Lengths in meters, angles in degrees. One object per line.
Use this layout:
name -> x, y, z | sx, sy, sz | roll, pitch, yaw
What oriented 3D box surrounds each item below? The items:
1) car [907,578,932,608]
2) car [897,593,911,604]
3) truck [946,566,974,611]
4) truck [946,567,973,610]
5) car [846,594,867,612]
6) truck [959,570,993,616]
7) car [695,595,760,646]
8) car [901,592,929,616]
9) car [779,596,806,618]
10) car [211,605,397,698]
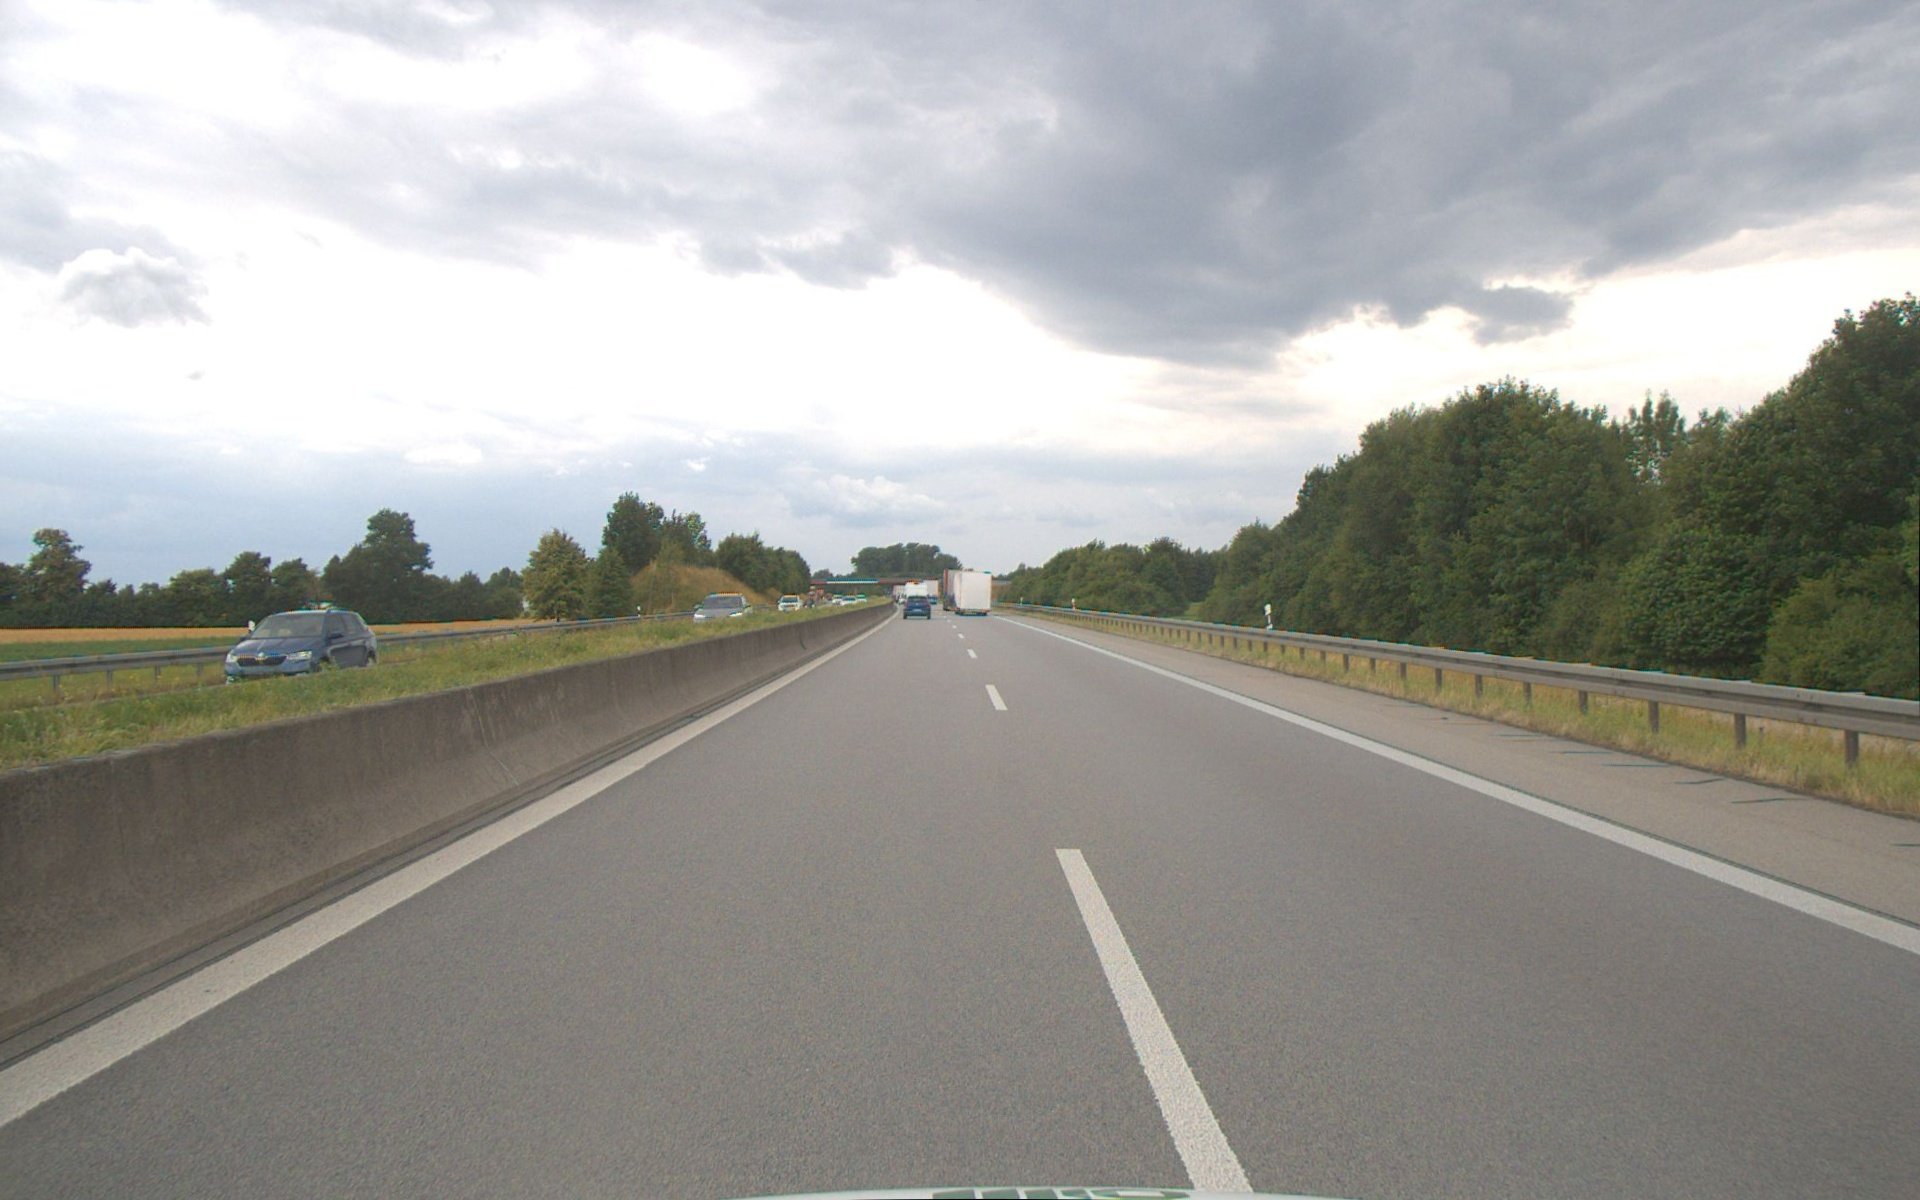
car -> -3.537, -0.566, 142.589 | 2.087, 2.526, 5.837 | 0, 0, -2
car -> -8.526, -0.246, 251.448 | 1.955, 1.713, 3.996 | 0, 0, -5
truck -> -0.045, -1.096, 159.727 | 2.618, 4.116, 11.106 | -1, 0, 0
truck -> -0.075, -1.143, 165.145 | 2.618, 4.116, 5.512 | -1, 0, 0
car -> -10.728, 0.331, 171.012 | 1.908, 1.724, 5.173 | -2, 0, -2
truck -> 1.133, -0.492, 122.862 | 2.366, 3.278, 7.142 | 0, 0, -1
car -> -8.451, 0.711, 60.335 | 1.804, 1.724, 4.357 | -2, 0, -2
car -> -2.781, 0.224, 101.568 | 1.630, 1.431, 3.646 | 0, 0, -3
car -> -13.706, 0.574, 135.810 | 1.799, 1.654, 4.689 | -2, 0, -2
car -> -12.177, 0.904, 31.034 | 1.711, 1.513, 4.529 | -2, 0, -1
